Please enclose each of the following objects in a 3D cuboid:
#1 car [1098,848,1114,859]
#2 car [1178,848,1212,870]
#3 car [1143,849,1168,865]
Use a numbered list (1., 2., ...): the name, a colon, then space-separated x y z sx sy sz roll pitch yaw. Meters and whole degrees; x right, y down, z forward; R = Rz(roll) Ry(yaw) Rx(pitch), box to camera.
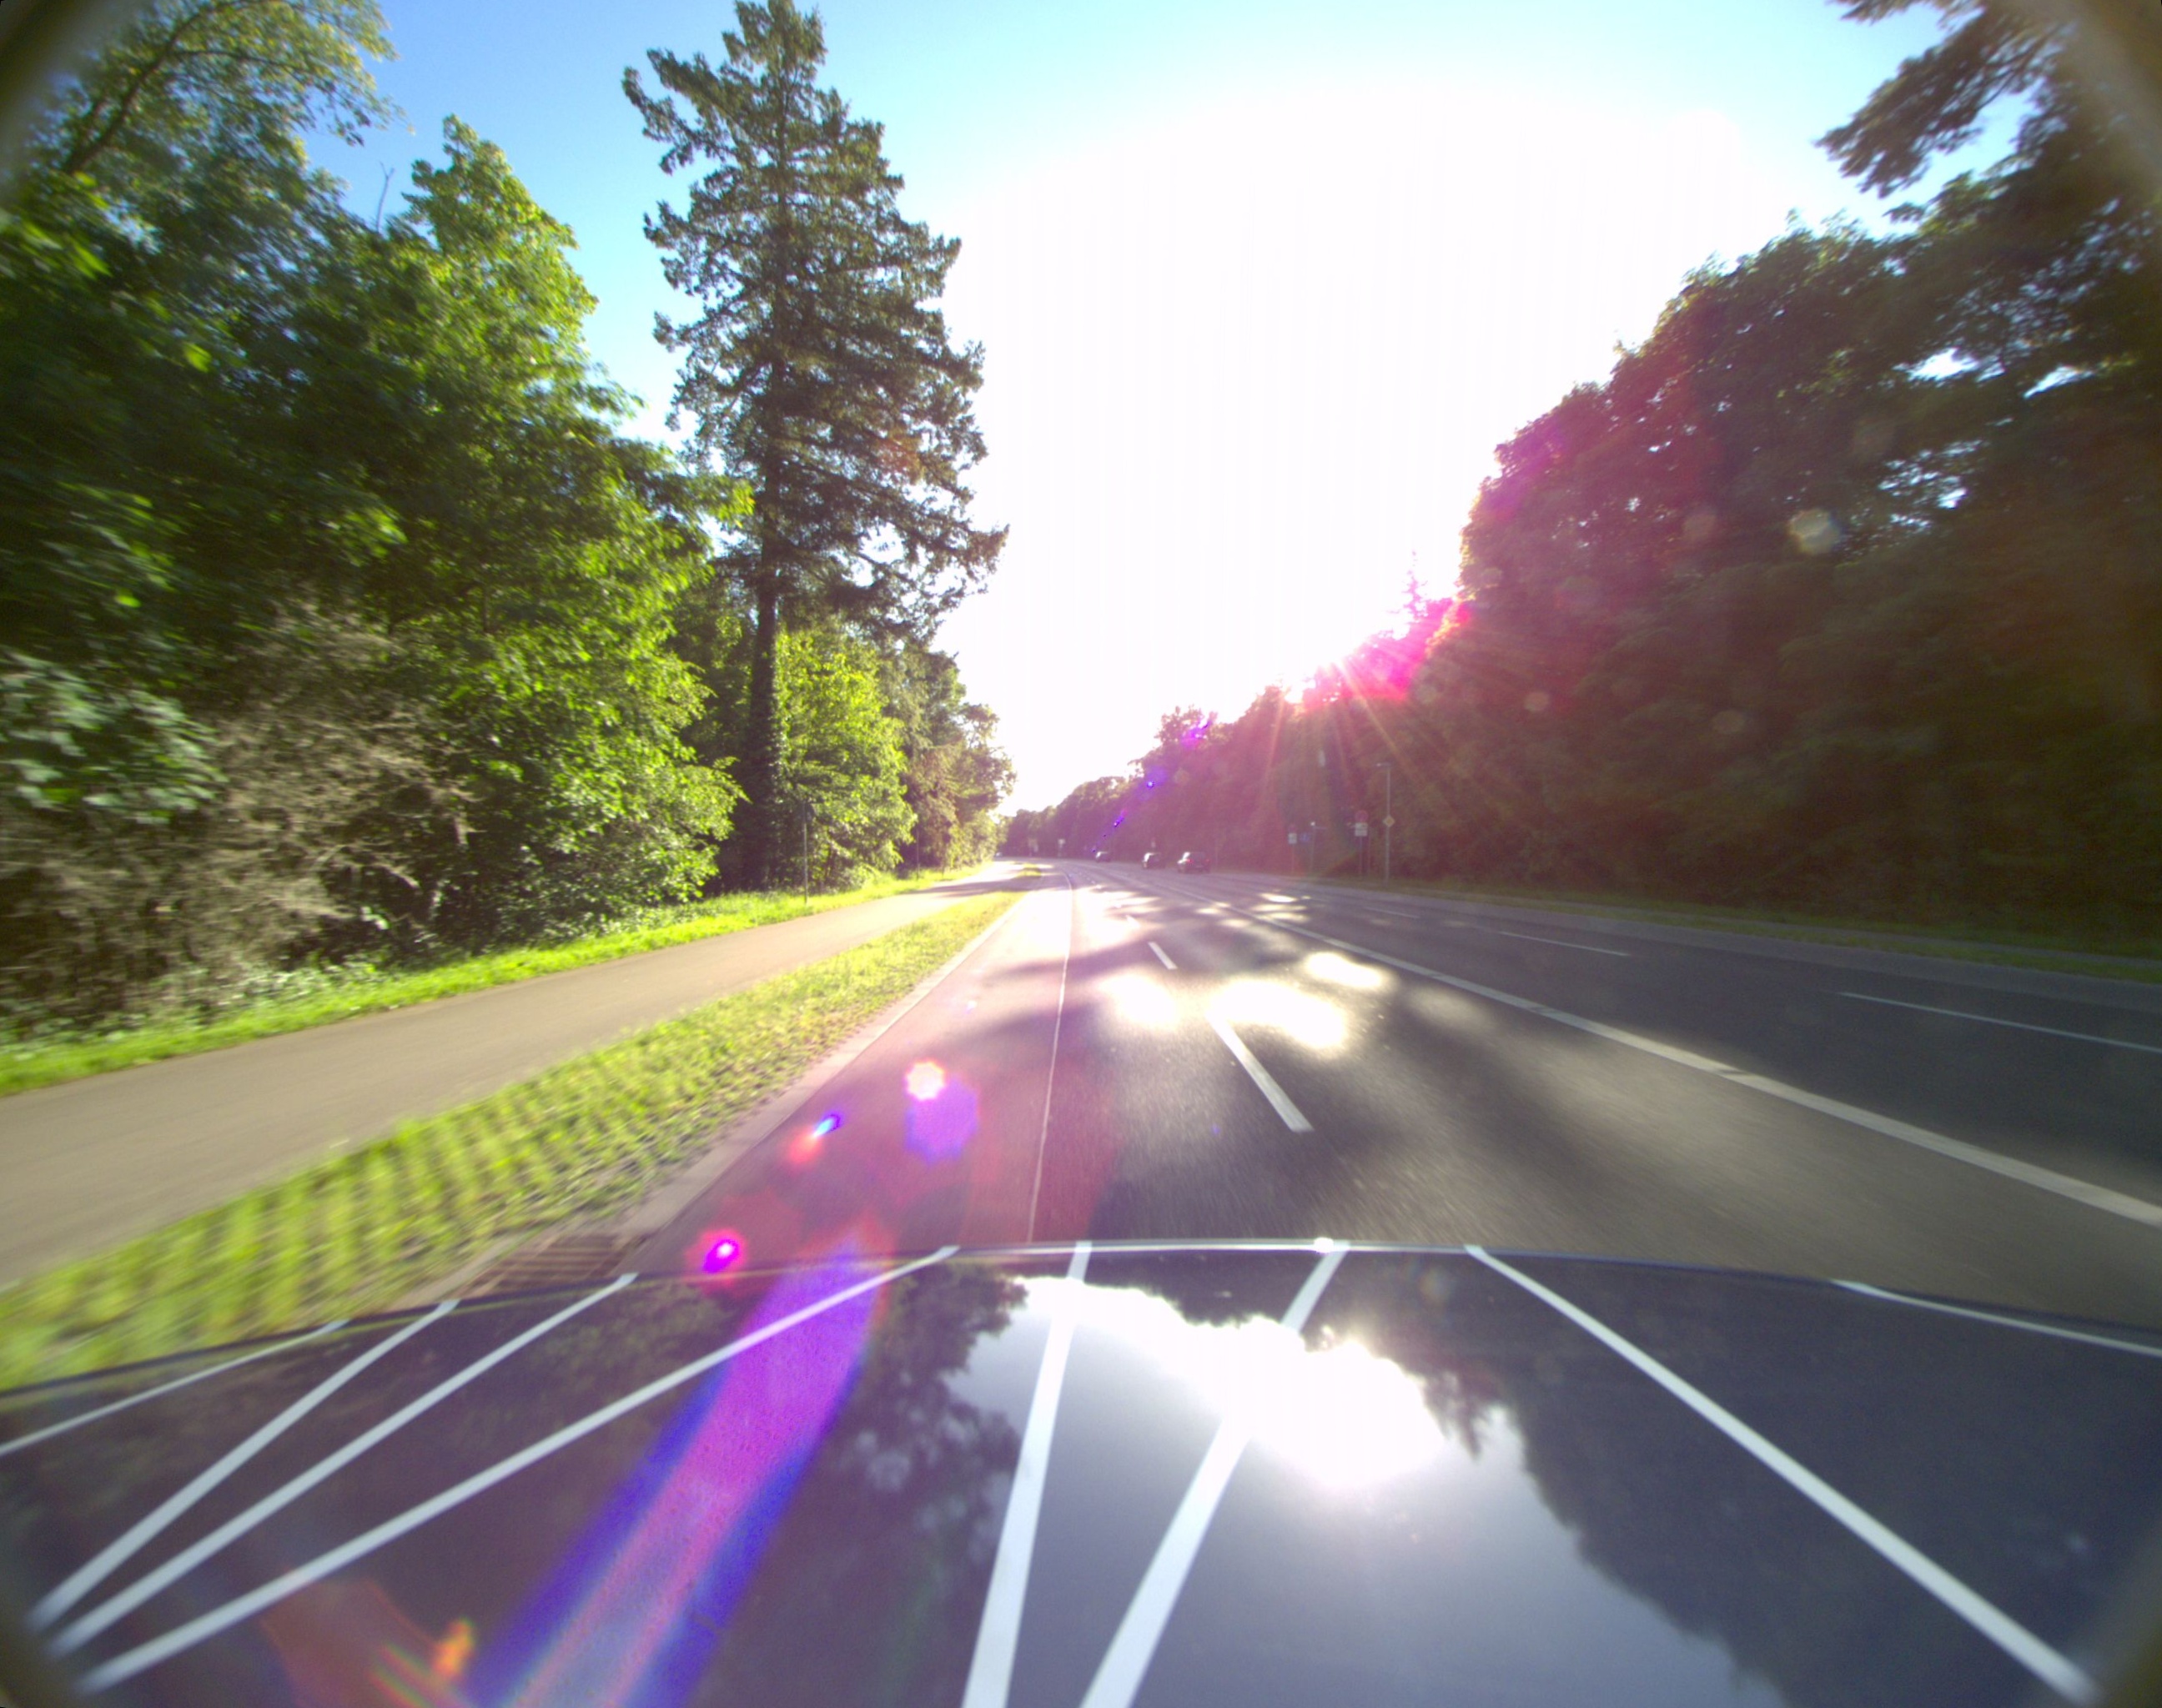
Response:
1. car: 3.759 -0.138 116.345 1.901 1.601 4.447 0 1 -5
2. car: 8.033 0.341 53.656 1.661 1.472 4.171 -1 0 -1
3. car: 6.928 0.256 70.553 1.743 1.449 3.998 -3 1 -2
